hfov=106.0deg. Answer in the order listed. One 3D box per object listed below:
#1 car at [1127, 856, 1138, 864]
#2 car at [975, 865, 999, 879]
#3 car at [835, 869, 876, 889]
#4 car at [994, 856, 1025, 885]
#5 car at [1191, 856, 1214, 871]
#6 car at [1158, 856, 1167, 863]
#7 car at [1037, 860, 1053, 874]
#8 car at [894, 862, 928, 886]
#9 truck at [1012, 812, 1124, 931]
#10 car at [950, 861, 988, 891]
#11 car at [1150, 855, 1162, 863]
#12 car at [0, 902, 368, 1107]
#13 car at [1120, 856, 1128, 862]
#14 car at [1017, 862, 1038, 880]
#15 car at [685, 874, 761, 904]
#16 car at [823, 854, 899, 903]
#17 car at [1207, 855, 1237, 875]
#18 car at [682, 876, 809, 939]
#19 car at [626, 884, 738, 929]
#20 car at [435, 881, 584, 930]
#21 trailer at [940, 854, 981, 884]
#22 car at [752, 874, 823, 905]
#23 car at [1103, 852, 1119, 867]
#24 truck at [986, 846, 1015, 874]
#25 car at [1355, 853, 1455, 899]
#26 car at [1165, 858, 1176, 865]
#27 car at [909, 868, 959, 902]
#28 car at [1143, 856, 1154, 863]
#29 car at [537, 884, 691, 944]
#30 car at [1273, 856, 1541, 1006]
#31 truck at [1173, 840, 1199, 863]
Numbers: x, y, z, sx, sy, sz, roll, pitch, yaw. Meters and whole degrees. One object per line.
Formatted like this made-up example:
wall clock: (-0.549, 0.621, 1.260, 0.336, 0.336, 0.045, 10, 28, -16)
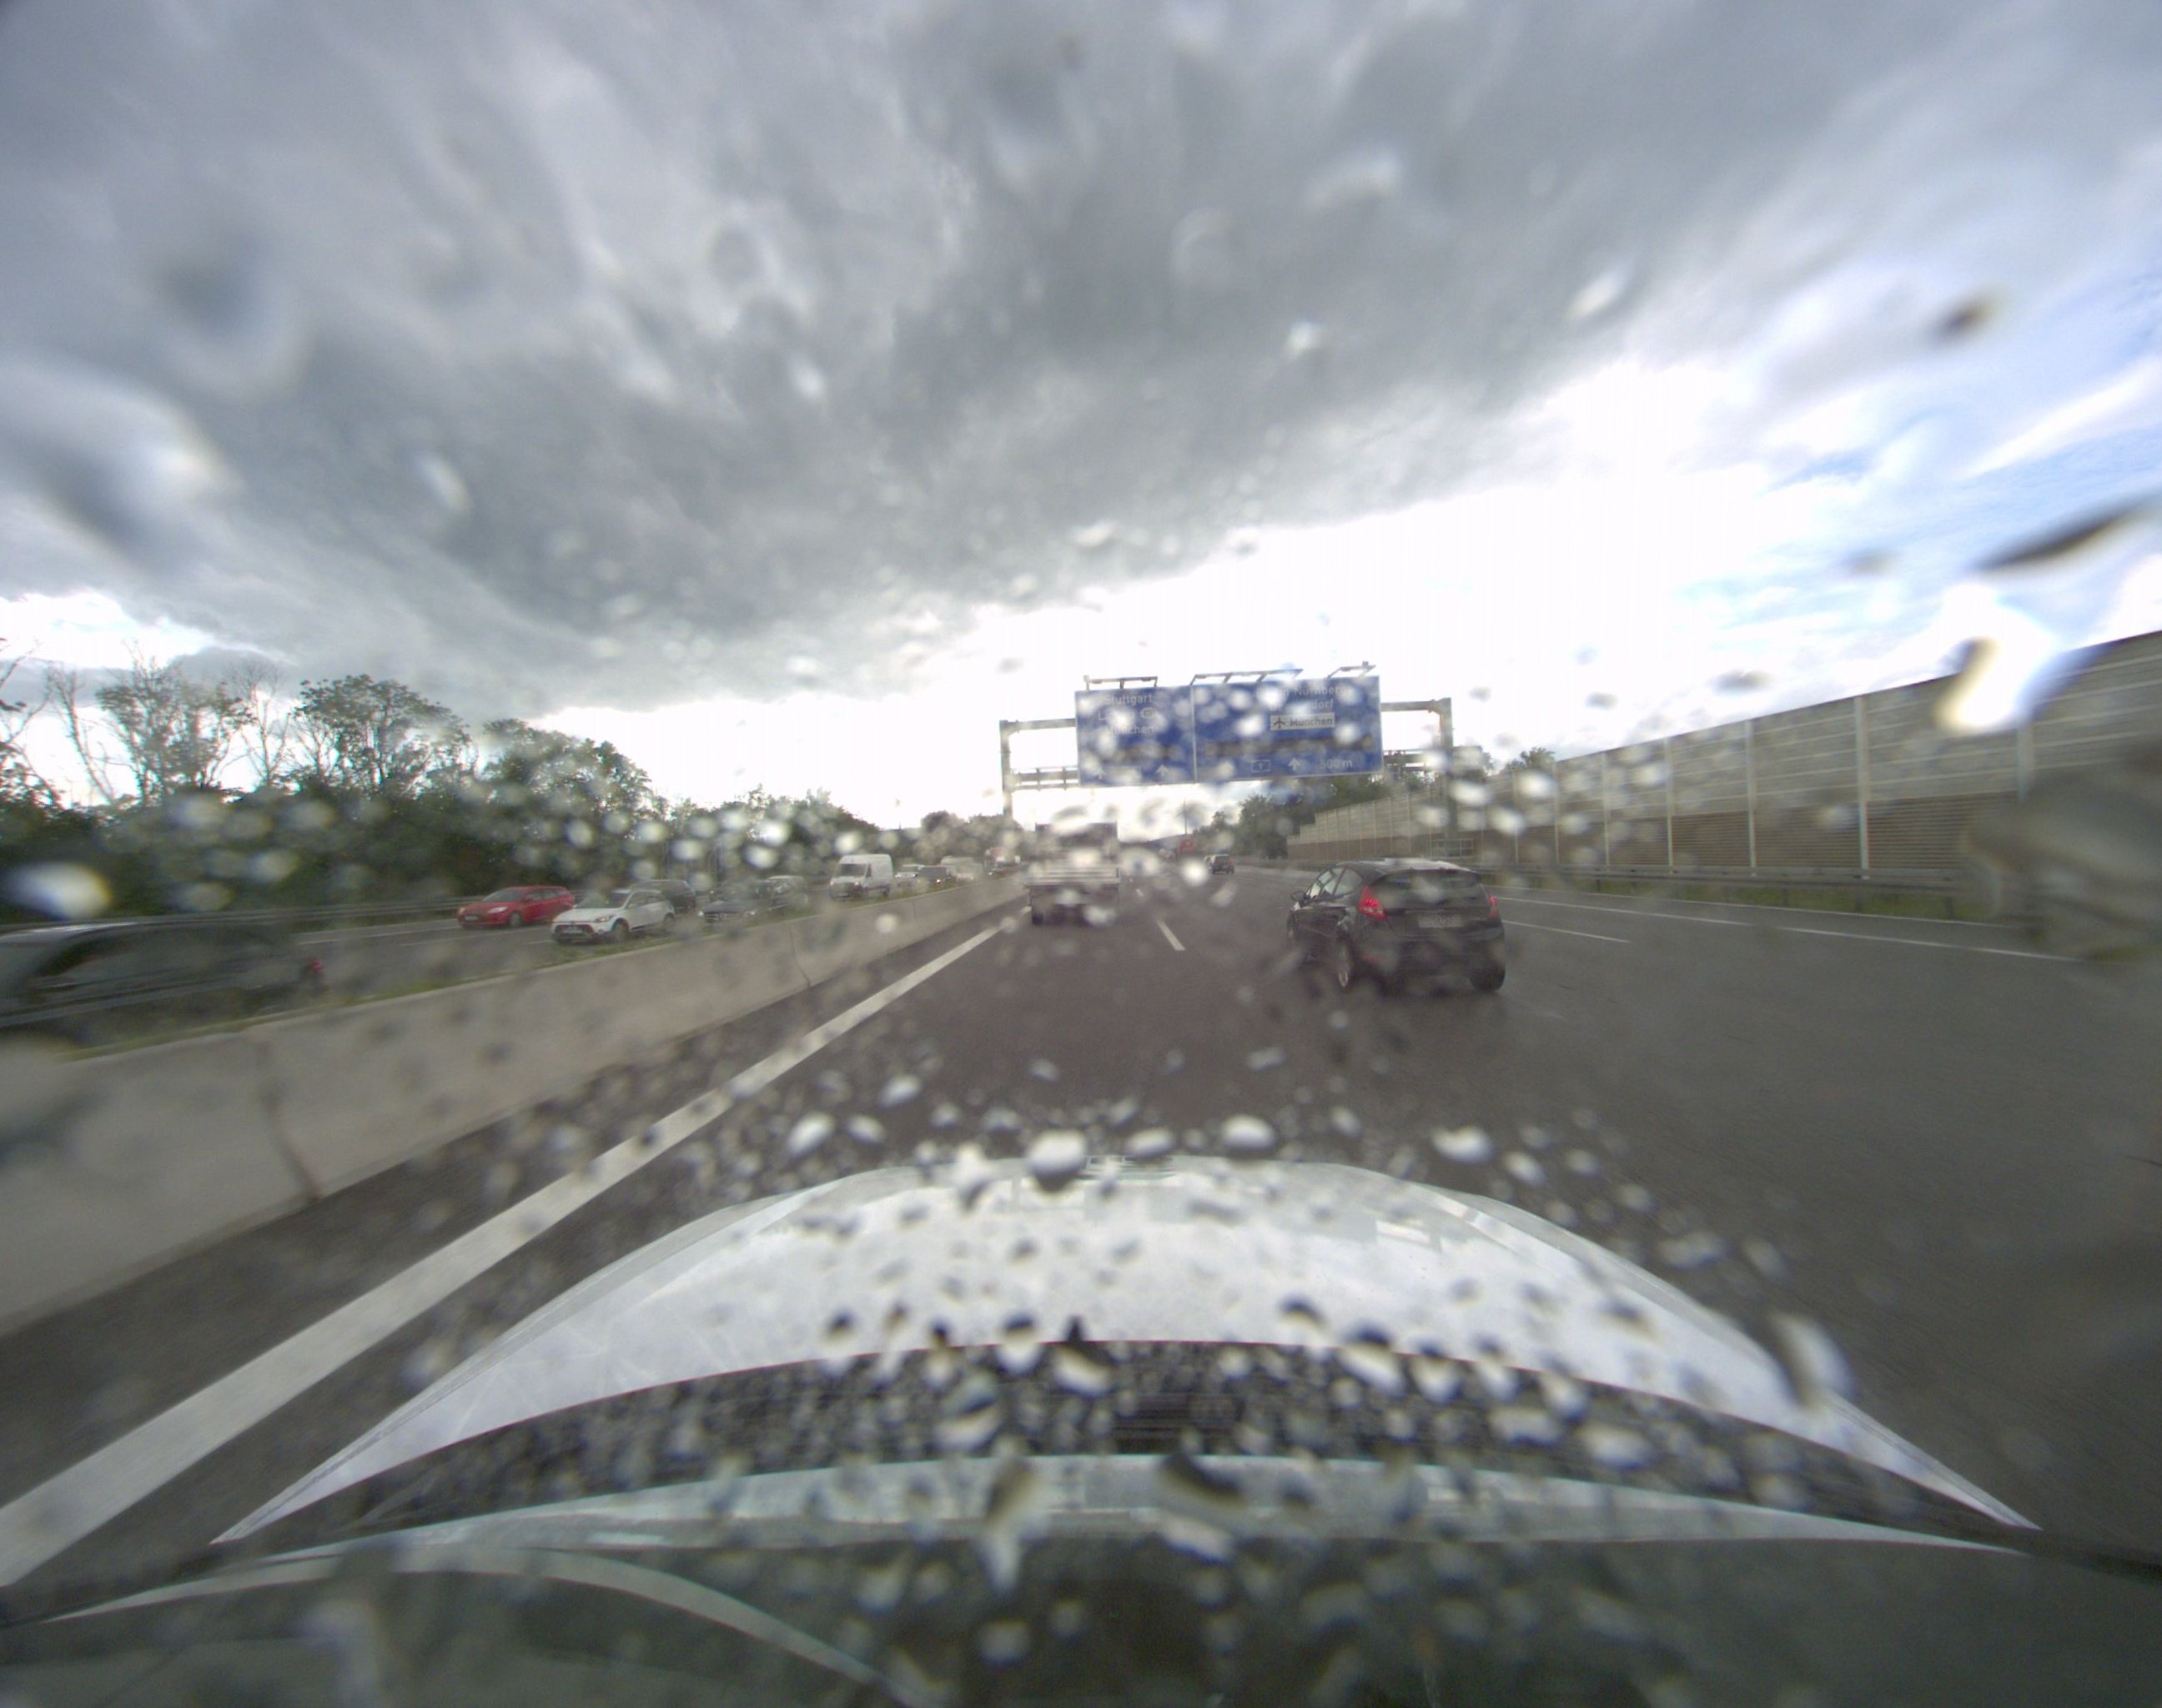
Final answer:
car: (10.718, 1.271, 168.180, 1.961, 1.561, 4.432, -2, -1, 0)
car: (-10.373, 1.993, 90.172, 1.810, 1.424, 4.481, 0, 0, 3)
car: (-18.932, 2.092, 68.513, 1.975, 1.494, 4.480, -2, -1, 2)
car: (-6.923, 1.566, 79.275, 2.016, 2.678, 7.314, -2, -1, 2)
car: (13.694, 1.070, 92.197, 1.876, 1.561, 4.432, -2, -1, 0)
car: (21.202, 1.474, 212.670, 1.962, 1.561, 4.432, -2, -1, 0)
car: (-5.182, 1.857, 118.419, 1.886, 1.801, 5.844, -2, -1, 2)
car: (-15.397, 1.796, 73.969, 1.975, 2.078, 4.480, -2, -1, 2)
truck: (-0.144, 0.329, 20.634, 2.298, 2.439, 7.152, -1, 1, 2)
car: (-8.138, 1.560, 59.743, 1.811, 2.078, 5.378, -2, -1, 2)
car: (15.594, 1.077, 169.228, 1.962, 1.561, 4.432, -2, -1, 0)
car: (-10.263, 1.418, 8.188, 1.716, 1.603, 4.915, 0, 0, 2)
car: (11.709, 1.429, 221.846, 1.961, 1.561, 4.432, -2, 0, 0)
car: (-5.995, 1.914, 92.459, 1.811, 1.952, 5.225, -2, -1, 2)
car: (-20.543, 1.946, 46.974, 1.975, 1.494, 4.915, -2, -1, 2)
car: (-12.889, 1.371, 48.342, 2.040, 2.653, 7.739, -2, -1, 2)
car: (11.514, 0.892, 66.780, 1.875, 1.542, 4.436, -2, -1, 3)
car: (-9.932, 1.531, 24.596, 1.717, 1.603, 4.914, 0, 0, 1)
car: (-16.211, 2.087, 33.397, 1.975, 1.494, 4.915, -2, -1, 2)
car: (-21.214, 1.866, 30.541, 1.975, 1.494, 4.915, -2, -1, 2)
trailer: (-11.211, 1.387, 76.622, 2.332, 2.653, 7.189, -2, -1, 3)
car: (-16.244, 1.932, 45.396, 1.975, 1.494, 4.915, -2, -1, 2)
car: (3.305, 0.597, 90.458, 1.710, 1.624, 4.281, -1, 1, 3)
truck: (-12.715, 0.969, 129.603, 2.787, 4.112, 12.302, -2, -1, 3)
car: (11.081, 0.701, 28.220, 1.942, 1.418, 4.235, -2, 0, 3)
car: (20.808, 1.724, 189.227, 1.962, 1.561, 4.432, -2, -1, 0)
car: (-8.878, 1.833, 49.682, 1.811, 1.904, 5.427, -2, -1, 2)
car: (15.899, 1.320, 191.996, 1.962, 1.561, 4.430, -2, -1, -1)
car: (-13.822, 1.720, 24.508, 1.717, 1.494, 4.914, 0, 0, 1)
car: (3.663, 0.770, 10.048, 1.710, 1.417, 4.280, -1, -1, 2)
truck: (17.059, -0.451, 132.813, 3.139, 3.601, 12.709, 0, 0, 3)
